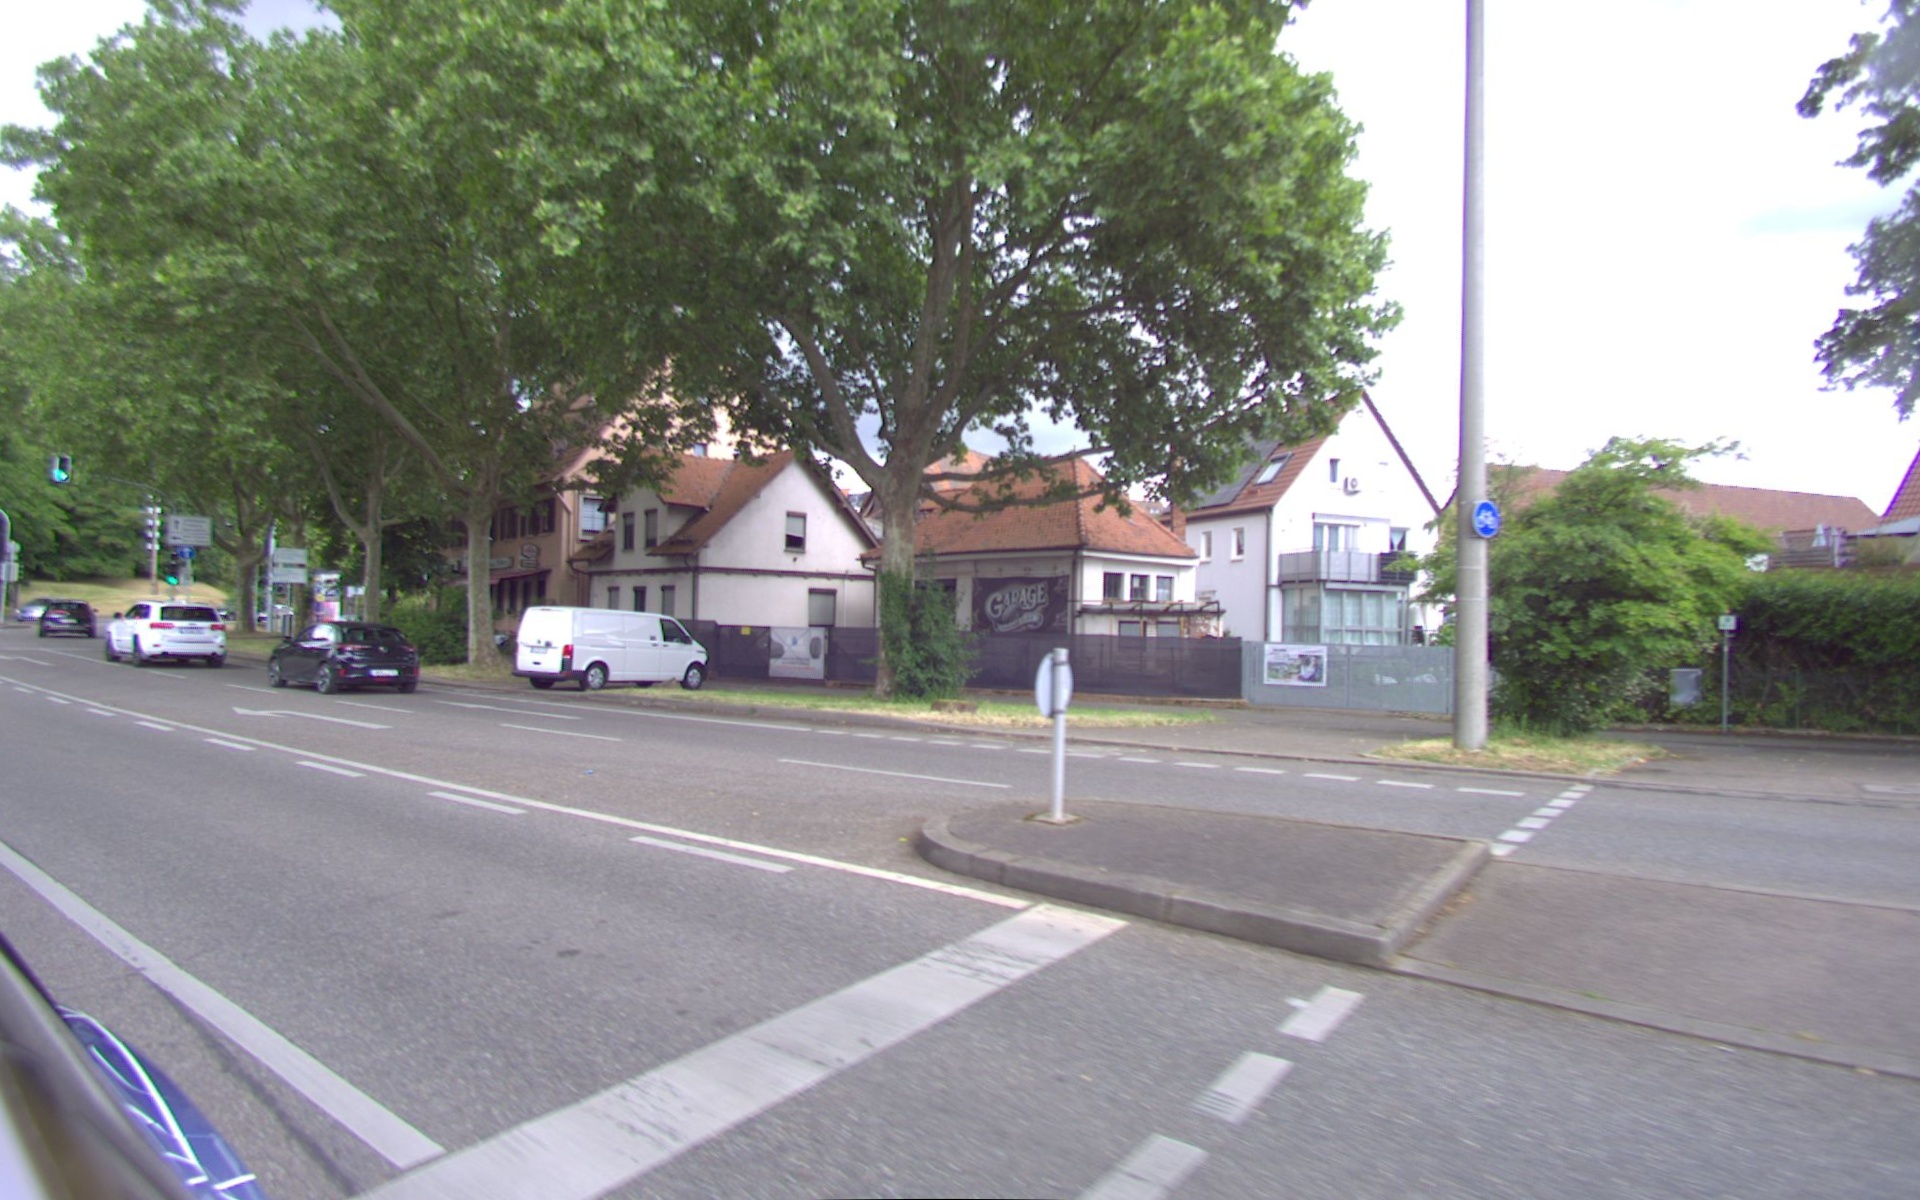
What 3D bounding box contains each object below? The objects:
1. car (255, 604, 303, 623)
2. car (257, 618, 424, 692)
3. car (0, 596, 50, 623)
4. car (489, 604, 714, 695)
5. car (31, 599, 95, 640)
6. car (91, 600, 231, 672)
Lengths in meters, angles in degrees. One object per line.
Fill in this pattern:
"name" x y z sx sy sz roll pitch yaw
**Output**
"car" -56.705 1.177 84.325 1.739 1.477 4.030 3 -2 -10
"car" -12.889 1.126 20.995 3.942 1.393 1.554 -2 -4 36
"car" -57.445 0.558 61.701 1.753 1.580 4.013 2 -1 -24
"car" -8.580 1.246 24.833 2.073 1.946 5.198 1 -3 25
"car" -38.808 0.857 43.764 1.775 1.599 4.418 6 -5 -44
"car" -22.070 0.942 27.903 4.745 1.777 1.893 1 -2 38
